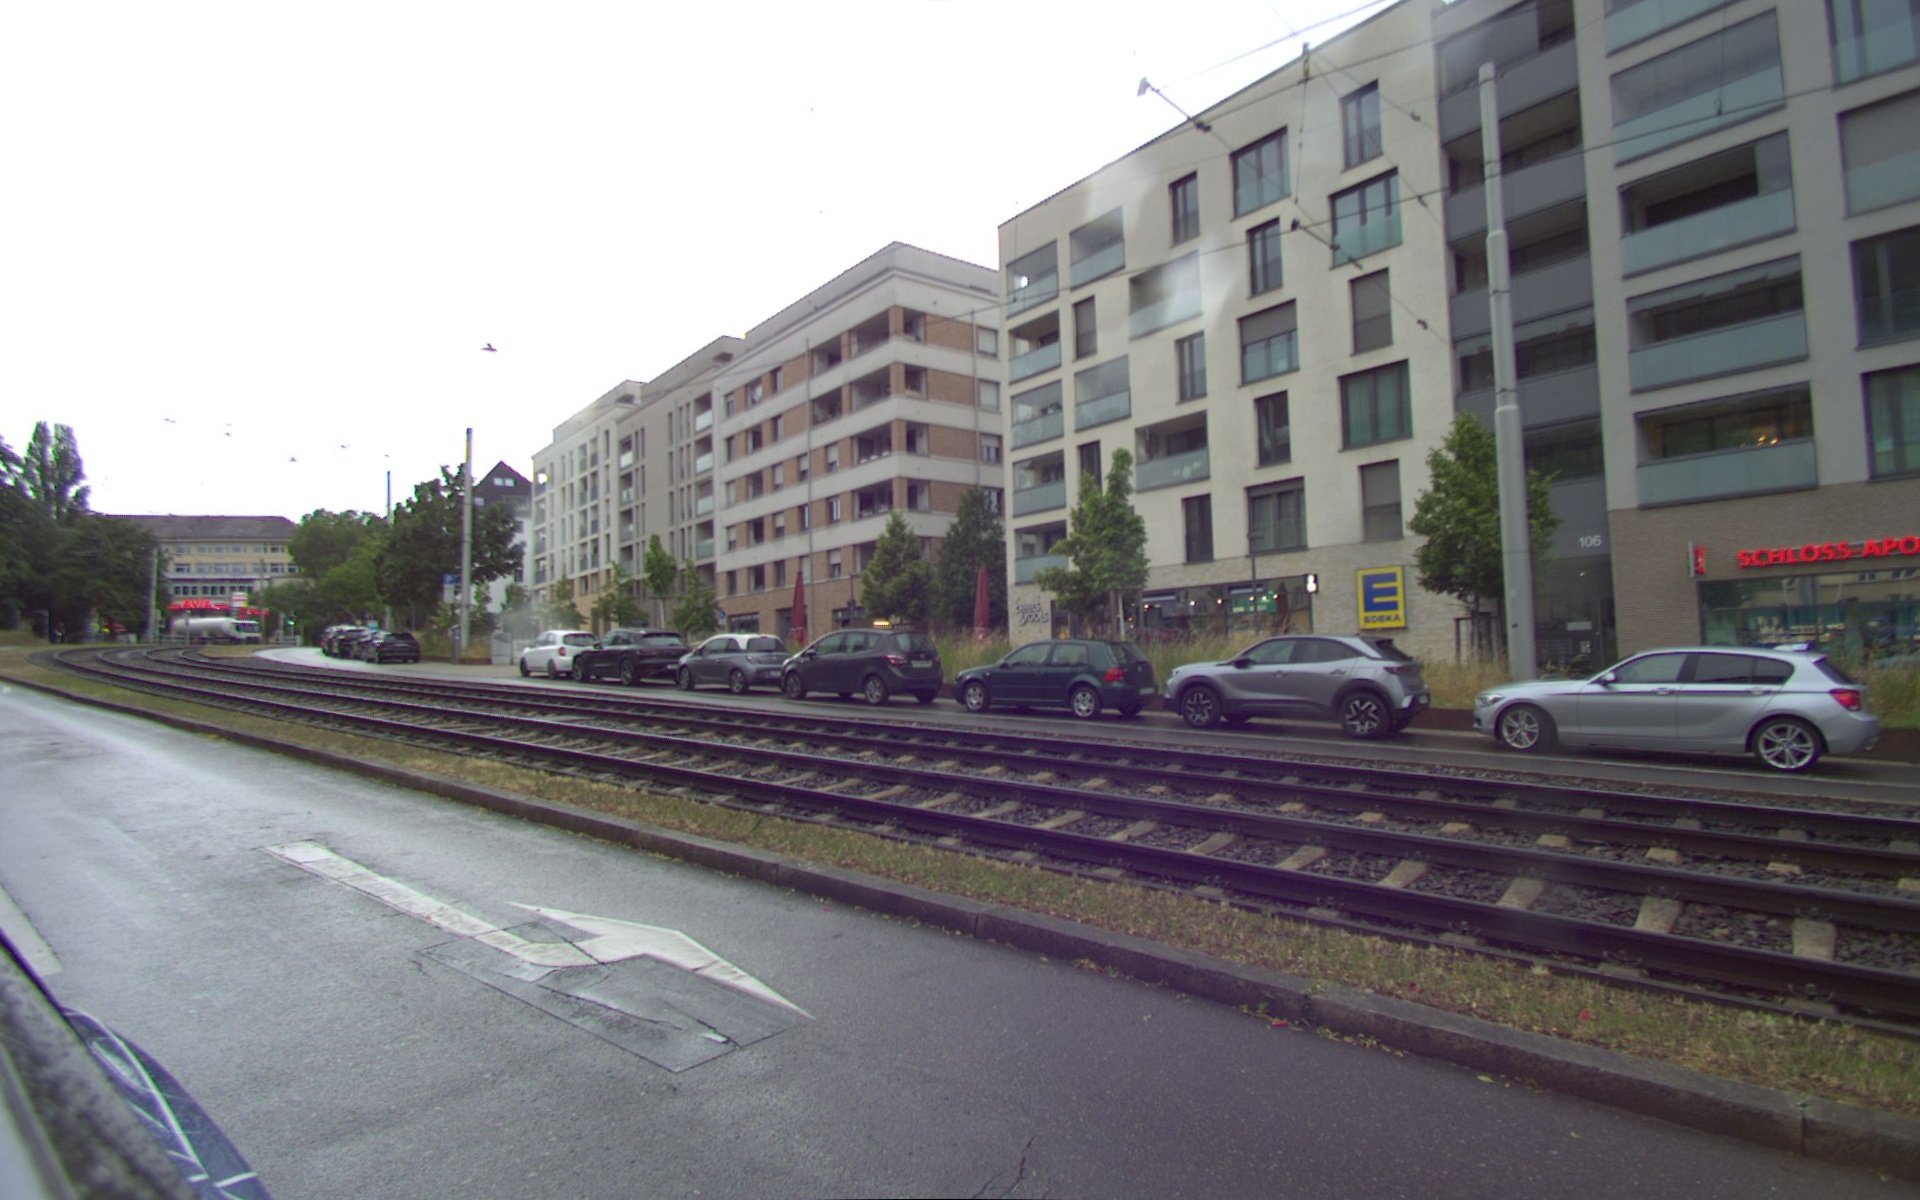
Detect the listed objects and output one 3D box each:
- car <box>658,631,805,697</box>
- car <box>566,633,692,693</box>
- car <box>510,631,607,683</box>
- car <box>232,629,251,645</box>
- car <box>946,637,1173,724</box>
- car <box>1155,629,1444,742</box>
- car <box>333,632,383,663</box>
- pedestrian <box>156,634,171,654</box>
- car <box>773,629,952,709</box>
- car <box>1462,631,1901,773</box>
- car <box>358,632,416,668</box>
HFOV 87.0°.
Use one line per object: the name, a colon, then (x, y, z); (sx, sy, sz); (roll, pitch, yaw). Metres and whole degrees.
car: (-5.879, 1.562, 25.859); (3.926, 1.516, 1.663); (-1, -1, 40)
car: (-9.549, 1.747, 28.999); (1.660, 1.516, 4.408); (0, -1, -44)
car: (-12.979, 1.798, 32.624); (1.627, 1.516, 3.784); (0, -1, -44)
car: (-81.803, 4.176, 115.260); (1.641, 1.619, 3.818); (-1, 0, -34)
car: (1.788, 1.423, 19.016); (4.030, 1.391, 1.663); (-1, -1, 40)
car: (5.324, 1.253, 16.081); (4.042, 1.541, 1.665); (-1, -1, 36)
car: (-31.459, 2.457, 52.865); (1.630, 1.475, 3.676); (-1, 0, -40)
pedestrian: (-71.685, 3.928, 91.131); (0.816, 1.777, 0.741); (-1, -5, 32)
car: (-2.191, 1.433, 22.165); (3.926, 1.575, 1.663); (-1, -1, 40)
car: (8.980, 1.161, 12.923); (4.326, 1.475, 1.663); (-1, -1, 40)
car: (-26.316, 2.267, 46.468); (1.630, 1.475, 3.676); (-1, 0, -40)
